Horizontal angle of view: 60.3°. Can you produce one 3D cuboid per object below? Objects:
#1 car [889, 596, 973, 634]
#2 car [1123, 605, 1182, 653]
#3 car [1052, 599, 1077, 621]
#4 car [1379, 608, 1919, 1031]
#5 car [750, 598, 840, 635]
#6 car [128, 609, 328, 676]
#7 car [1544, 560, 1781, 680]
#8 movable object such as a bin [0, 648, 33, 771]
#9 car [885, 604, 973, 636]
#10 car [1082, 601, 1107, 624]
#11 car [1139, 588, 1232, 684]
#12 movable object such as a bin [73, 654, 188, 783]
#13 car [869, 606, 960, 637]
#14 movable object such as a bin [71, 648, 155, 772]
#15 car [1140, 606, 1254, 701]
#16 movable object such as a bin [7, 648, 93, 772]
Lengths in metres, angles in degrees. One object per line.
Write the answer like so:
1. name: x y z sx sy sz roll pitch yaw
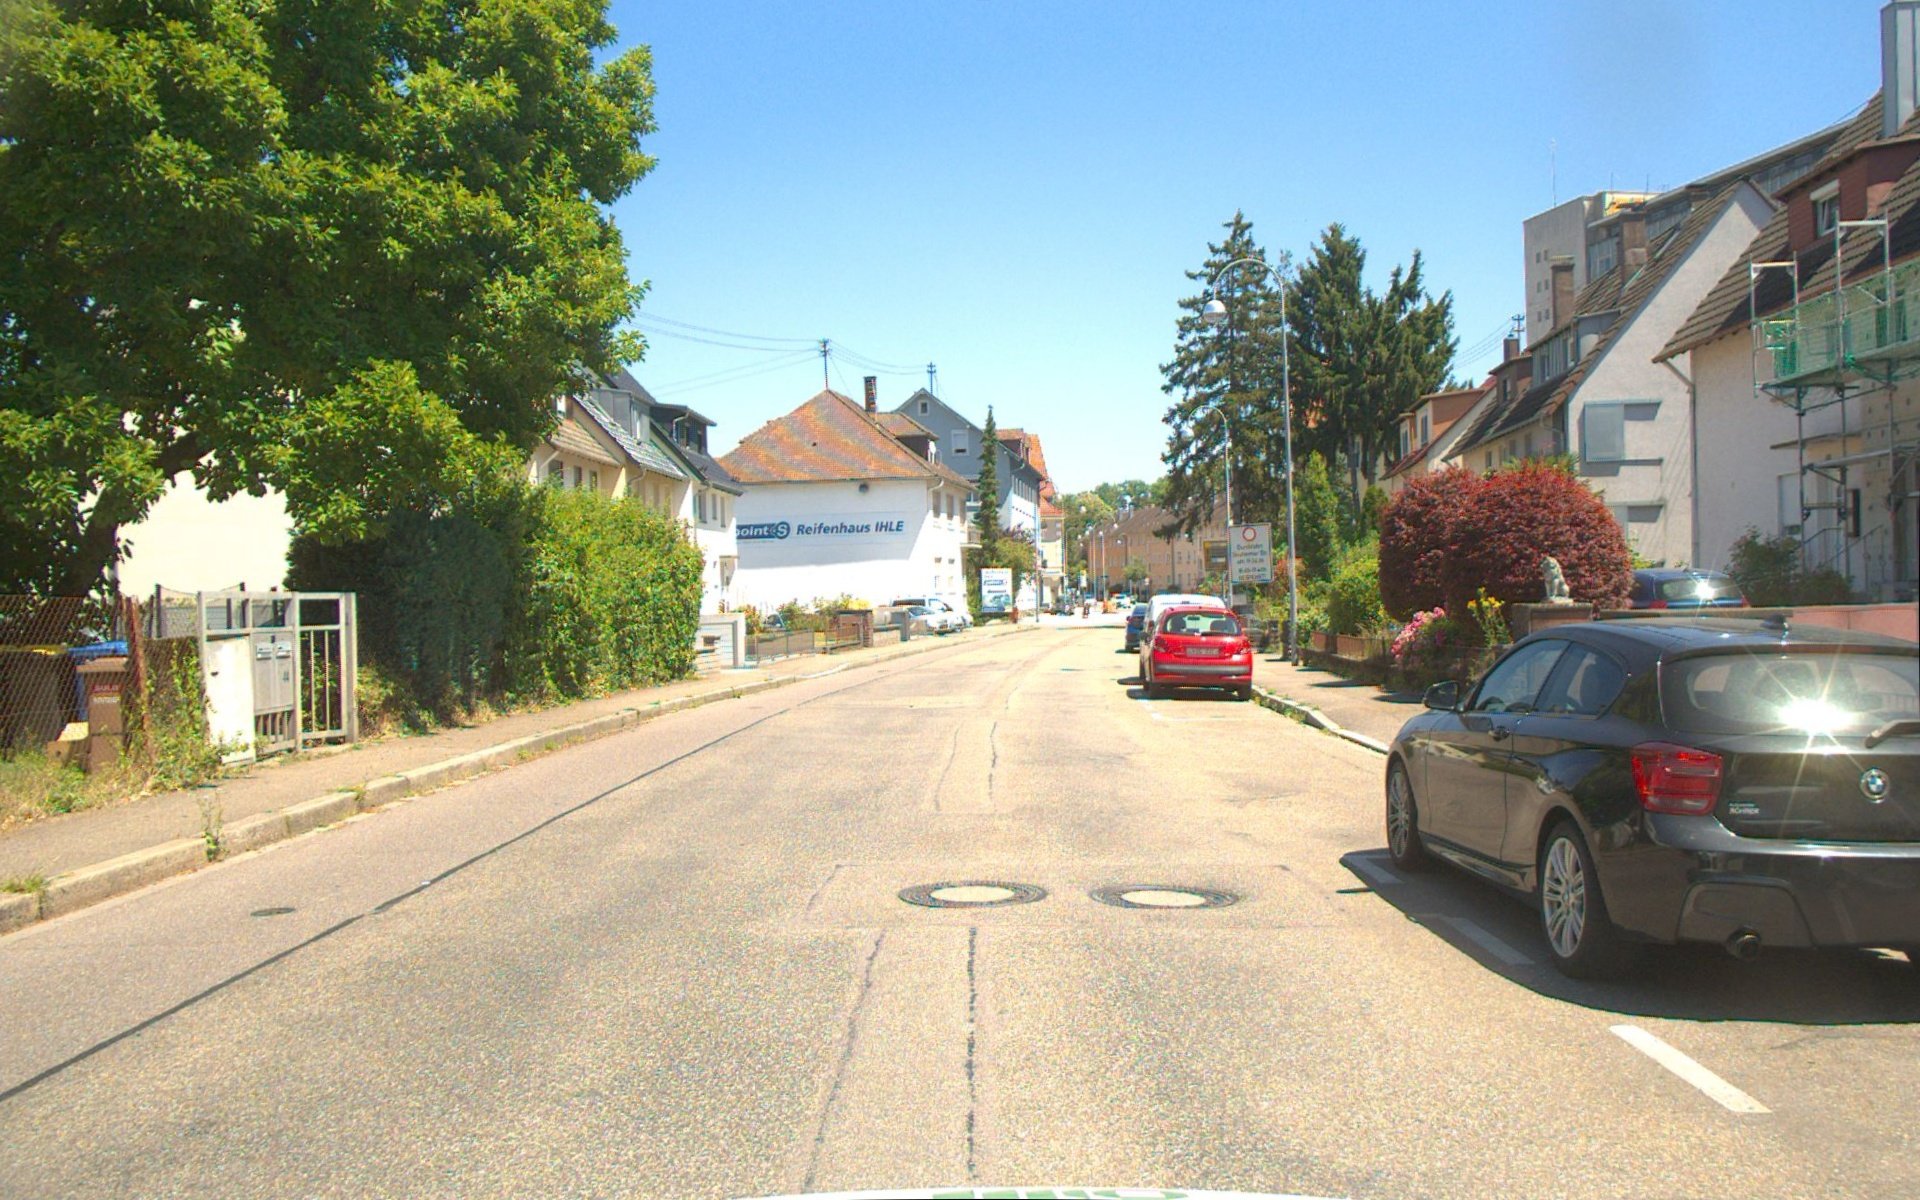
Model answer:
1. car: -1.449 0.737 82.770 4.042 1.805 1.829 -1 0 3
2. car: 6.098 0.879 52.270 1.740 1.430 4.289 1 0 7
3. car: 8.381 0.808 132.338 1.720 1.685 4.003 -1 0 6
4. car: 3.277 0.772 7.739 1.622 1.422 4.000 -1 0 0
5. car: -7.212 0.689 72.147 3.930 1.536 1.789 0 1 43
6. car: -17.236 0.991 39.093 3.909 1.537 1.798 0 0 -5
7. car: 10.294 0.243 24.576 1.758 1.536 4.000 -3 1 0
8. movable object such as a bin: -8.390 0.942 14.301 0.457 1.027 0.506 0 0 0
9. car: -1.469 0.955 80.303 4.041 1.419 1.830 -1 0 6
10. car: 10.101 0.919 123.768 1.720 1.685 4.003 -1 0 6
11. car: 4.479 0.704 33.216 1.628 1.786 4.002 1 -1 5
12. movable object such as a bin: -6.781 0.959 13.533 0.693 1.014 0.473 -1 0 -3
13. car: -2.159 1.015 77.451 4.067 1.367 1.901 -1 0 41
14. movable object such as a bin: -7.287 0.934 14.234 0.457 1.027 0.506 0 0 0
15. car: 3.981 0.859 28.230 1.629 1.480 4.002 0 0 4
16. movable object such as a bin: -7.814 0.933 14.215 0.457 1.027 0.506 0 0 0
